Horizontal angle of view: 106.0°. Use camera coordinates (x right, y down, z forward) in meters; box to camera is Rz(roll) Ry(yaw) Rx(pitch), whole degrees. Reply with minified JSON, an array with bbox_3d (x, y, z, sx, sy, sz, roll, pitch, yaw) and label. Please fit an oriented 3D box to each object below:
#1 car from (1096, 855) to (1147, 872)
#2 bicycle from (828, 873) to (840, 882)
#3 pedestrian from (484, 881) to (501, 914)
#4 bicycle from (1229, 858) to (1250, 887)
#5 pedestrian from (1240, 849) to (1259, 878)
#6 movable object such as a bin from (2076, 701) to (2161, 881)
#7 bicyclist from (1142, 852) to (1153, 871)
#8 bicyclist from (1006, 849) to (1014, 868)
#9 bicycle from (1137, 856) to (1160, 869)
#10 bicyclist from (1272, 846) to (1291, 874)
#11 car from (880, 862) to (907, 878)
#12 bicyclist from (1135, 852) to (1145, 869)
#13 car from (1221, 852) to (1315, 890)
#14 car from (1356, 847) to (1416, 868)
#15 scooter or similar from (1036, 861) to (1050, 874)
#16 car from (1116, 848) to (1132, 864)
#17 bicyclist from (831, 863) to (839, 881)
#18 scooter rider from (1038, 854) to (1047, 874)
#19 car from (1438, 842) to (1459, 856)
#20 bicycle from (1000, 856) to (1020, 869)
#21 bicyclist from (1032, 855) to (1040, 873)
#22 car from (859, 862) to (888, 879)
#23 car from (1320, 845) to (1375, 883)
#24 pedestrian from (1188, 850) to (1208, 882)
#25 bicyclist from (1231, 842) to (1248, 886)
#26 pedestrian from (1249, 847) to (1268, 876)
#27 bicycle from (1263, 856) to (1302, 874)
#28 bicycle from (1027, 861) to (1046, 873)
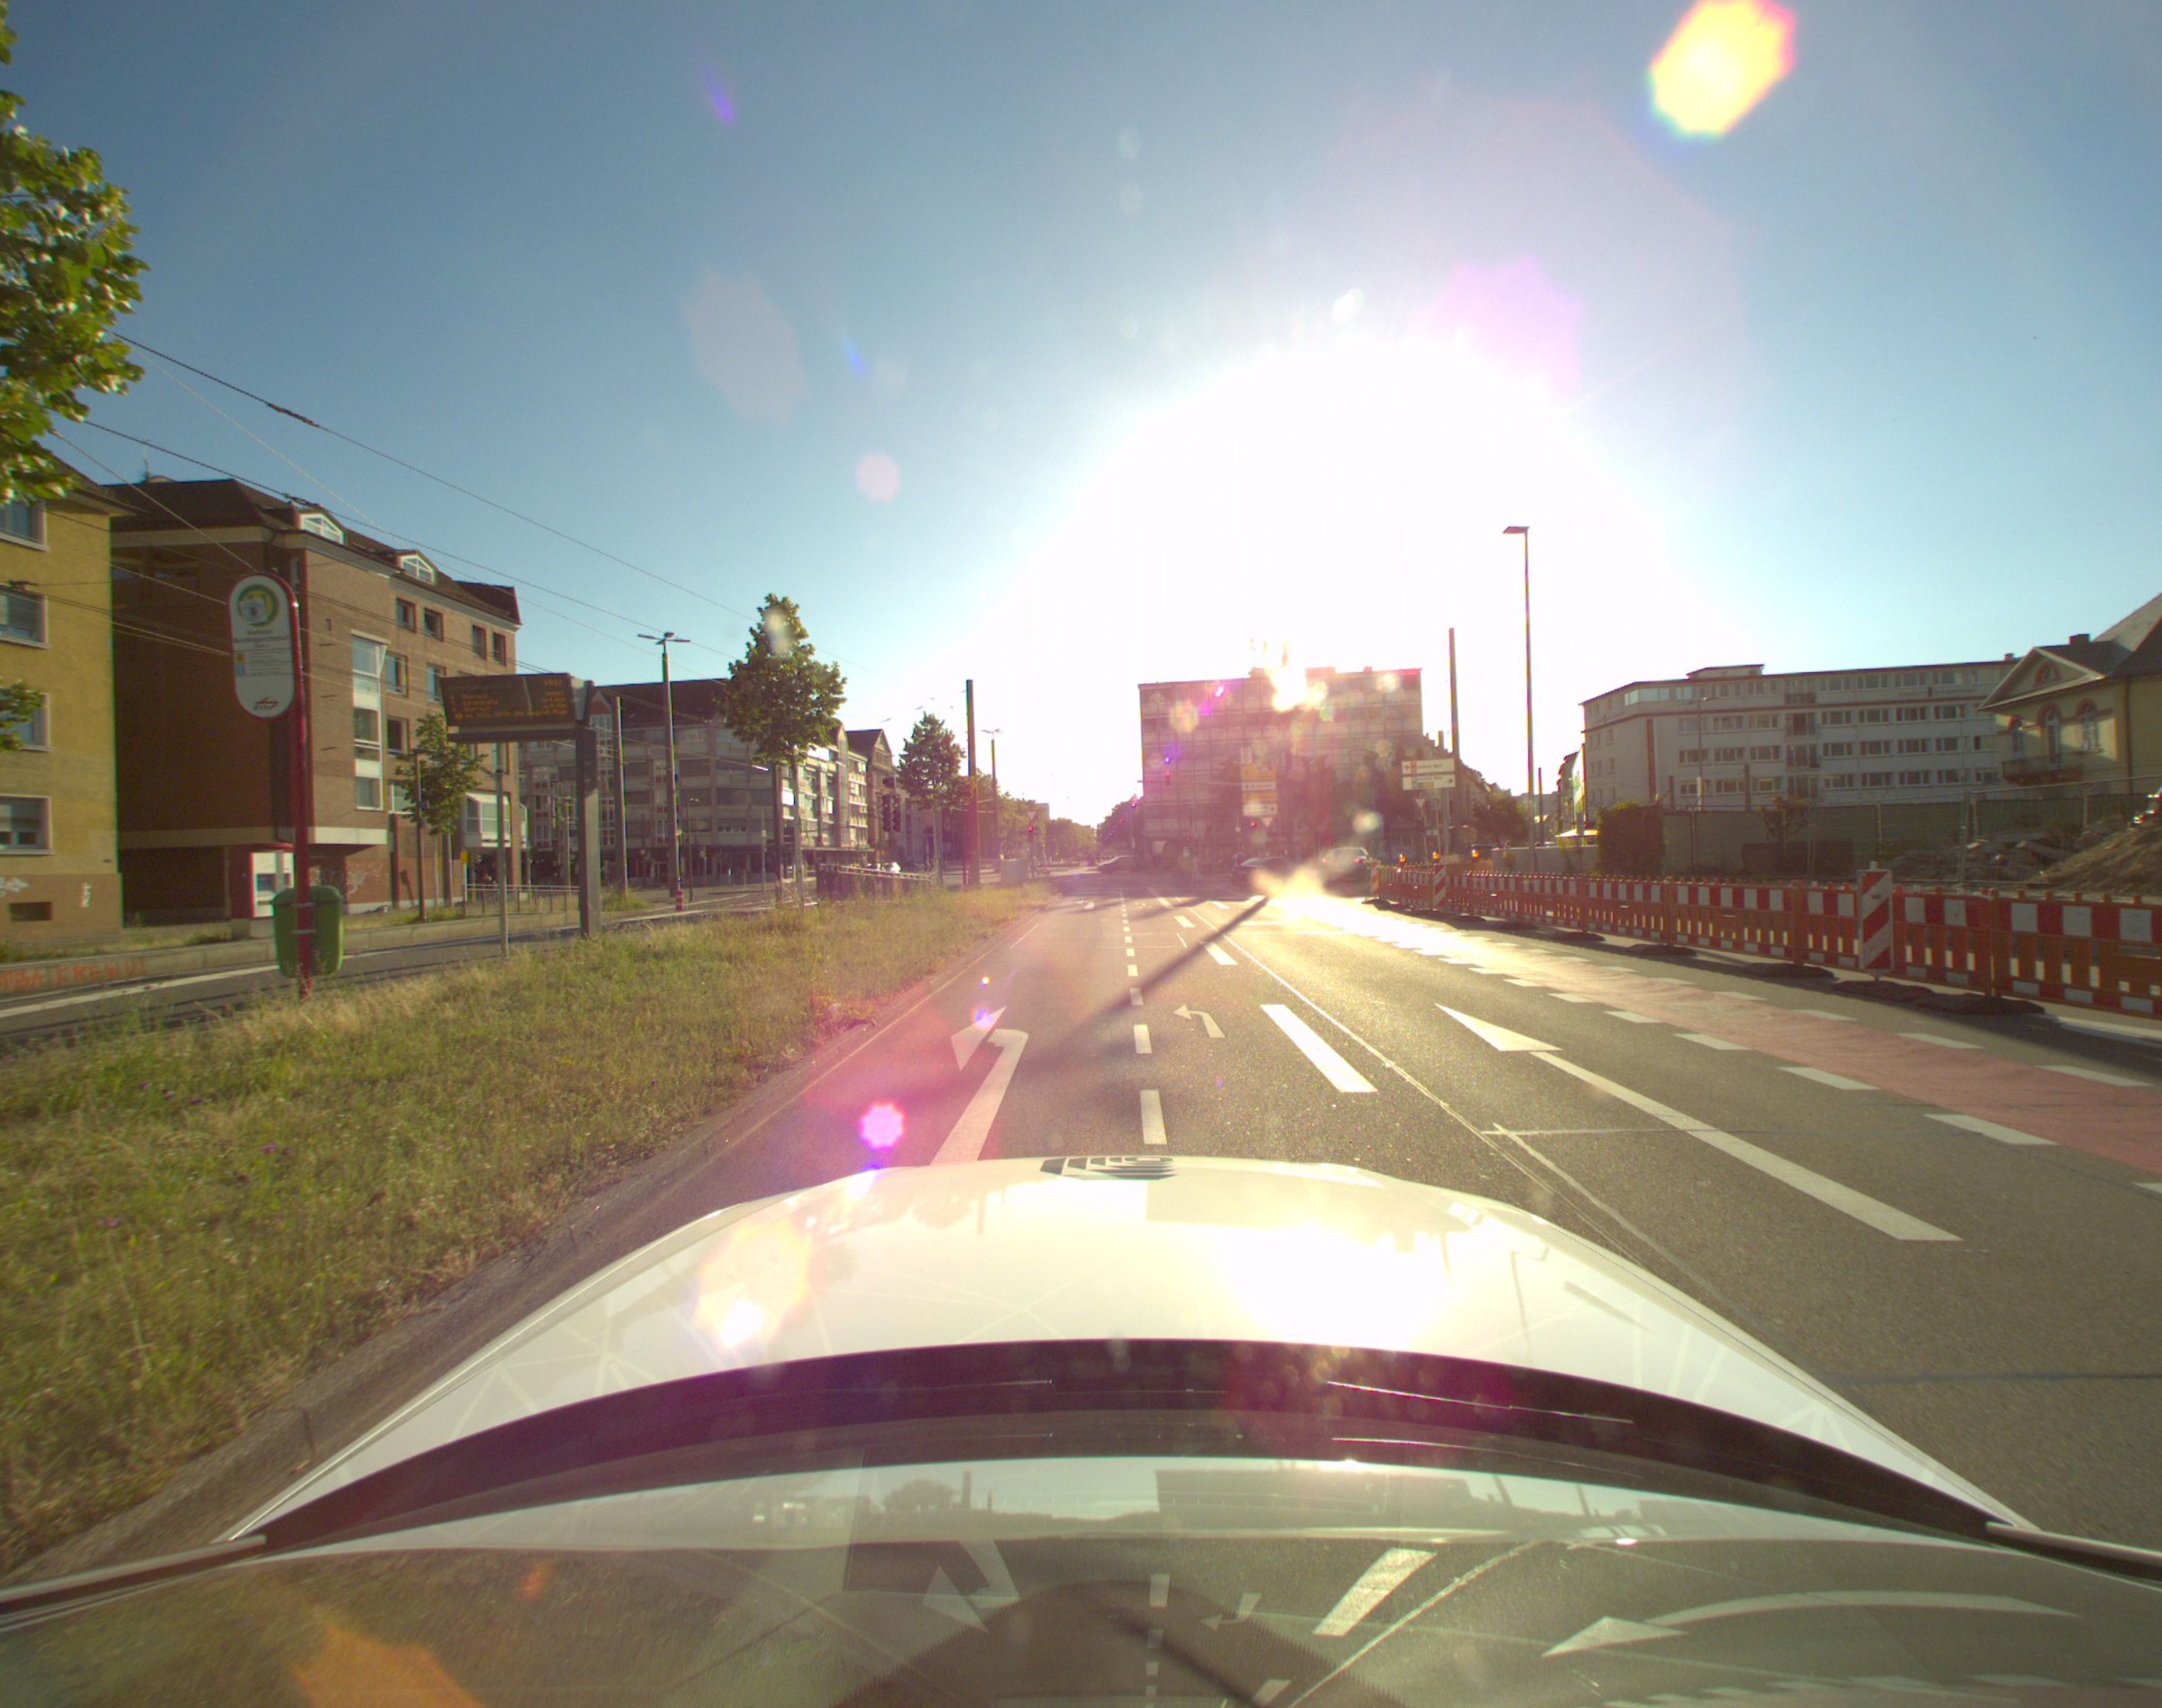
[{"bbox_3d":[3.438,0.785,69.382,3.985,1.288,1.842,-2,0,-9],"label":"car"},{"bbox_3d":[-26.855,2.513,88.726,0.596,0.915,1.838,-2,0,4],"label":"bicycle"},{"bbox_3d":[-32.796,2.405,45.399,0.495,1.807,0.546,-3,0,30],"label":"pedestrian"},{"bbox_3d":[7.247,0.841,37.301,0.642,1.223,2.050,0,1,3],"label":"bicycle"},{"bbox_3d":[9.644,0.531,46.710,0.875,1.597,0.655,-2,0,0],"label":"pedestrian"},{"bbox_3d":[24.646,-1.352,15.825,6.004,3.557,2.879,-2,0,27],"label":"movable object such as a bin"},{"bbox_3d":[6.429,0.711,78.666,0.896,1.753,0.654,-2,0,-3],"label":"bicyclist"},{"bbox_3d":[-6.327,0.396,72.692,0.663,1.712,0.537,-2,-1,-8],"label":"bicyclist"},{"bbox_3d":[6.530,0.819,78.671,2.089,1.137,0.658,-2,0,-3],"label":"bicycle"},{"bbox_3d":[12.251,0.378,49.812,0.954,1.661,0.692,-2,0,5],"label":"bicyclist"},{"bbox_3d":[-23.303,1.933,101.397,1.984,1.860,4.005,-2,0,4],"label":"car"},{"bbox_3d":[6.138,0.684,85.242,0.896,1.753,0.650,-2,0,-2],"label":"bicyclist"},{"bbox_3d":[7.967,0.704,34.544,4.019,1.426,1.729,-1,0,-38],"label":"car"},{"bbox_3d":[26.038,0.326,69.630,4.313,1.596,2.002,-2,0,3],"label":"car"},{"bbox_3d":[-3.311,1.200,70.506,1.171,1.072,0.528,-2,0,-8],"label":"scooter or similar"},{"bbox_3d":[7.139,0.347,135.540,2.477,2.392,5.936,-4,-1,2],"label":"car"},{"bbox_3d":[-26.859,1.958,88.925,0.590,1.862,0.642,-2,0,4],"label":"bicyclist"},{"bbox_3d":[-3.303,0.875,70.509,0.663,1.712,0.525,-2,-1,-8],"label":"scooter rider"},{"bbox_3d":[41.684,-0.586,92.441,1.976,1.398,4.022,-3,0,23],"label":"car"},{"bbox_3d":[-6.352,0.728,72.680,1.774,1.072,0.533,-2,0,-8],"label":"bicycle"},{"bbox_3d":[-4.318,0.935,77.914,0.663,1.712,0.537,-2,-1,-8],"label":"bicyclist"},{"bbox_3d":[-23.812,1.881,93.494,1.984,1.860,4.005,-2,0,4],"label":"car"},{"bbox_3d":[13.194,0.447,40.184,1.975,1.693,4.024,0,1,27],"label":"car"},{"bbox_3d":[6.033,0.635,41.931,0.875,1.597,0.655,-2,0,1],"label":"pedestrian"},{"bbox_3d":[7.270,0.440,37.432,0.641,2.013,1.068,0,1,3],"label":"bicyclist"},{"bbox_3d":[10.011,0.439,45.951,0.875,1.597,0.655,-2,0,0],"label":"pedestrian"},{"bbox_3d":[12.293,0.692,49.812,2.215,1.026,0.683,-2,0,5],"label":"bicycle"},{"bbox_3d":[-4.287,1.272,77.912,1.731,1.059,0.538,-2,0,-8],"label":"bicycle"}]
